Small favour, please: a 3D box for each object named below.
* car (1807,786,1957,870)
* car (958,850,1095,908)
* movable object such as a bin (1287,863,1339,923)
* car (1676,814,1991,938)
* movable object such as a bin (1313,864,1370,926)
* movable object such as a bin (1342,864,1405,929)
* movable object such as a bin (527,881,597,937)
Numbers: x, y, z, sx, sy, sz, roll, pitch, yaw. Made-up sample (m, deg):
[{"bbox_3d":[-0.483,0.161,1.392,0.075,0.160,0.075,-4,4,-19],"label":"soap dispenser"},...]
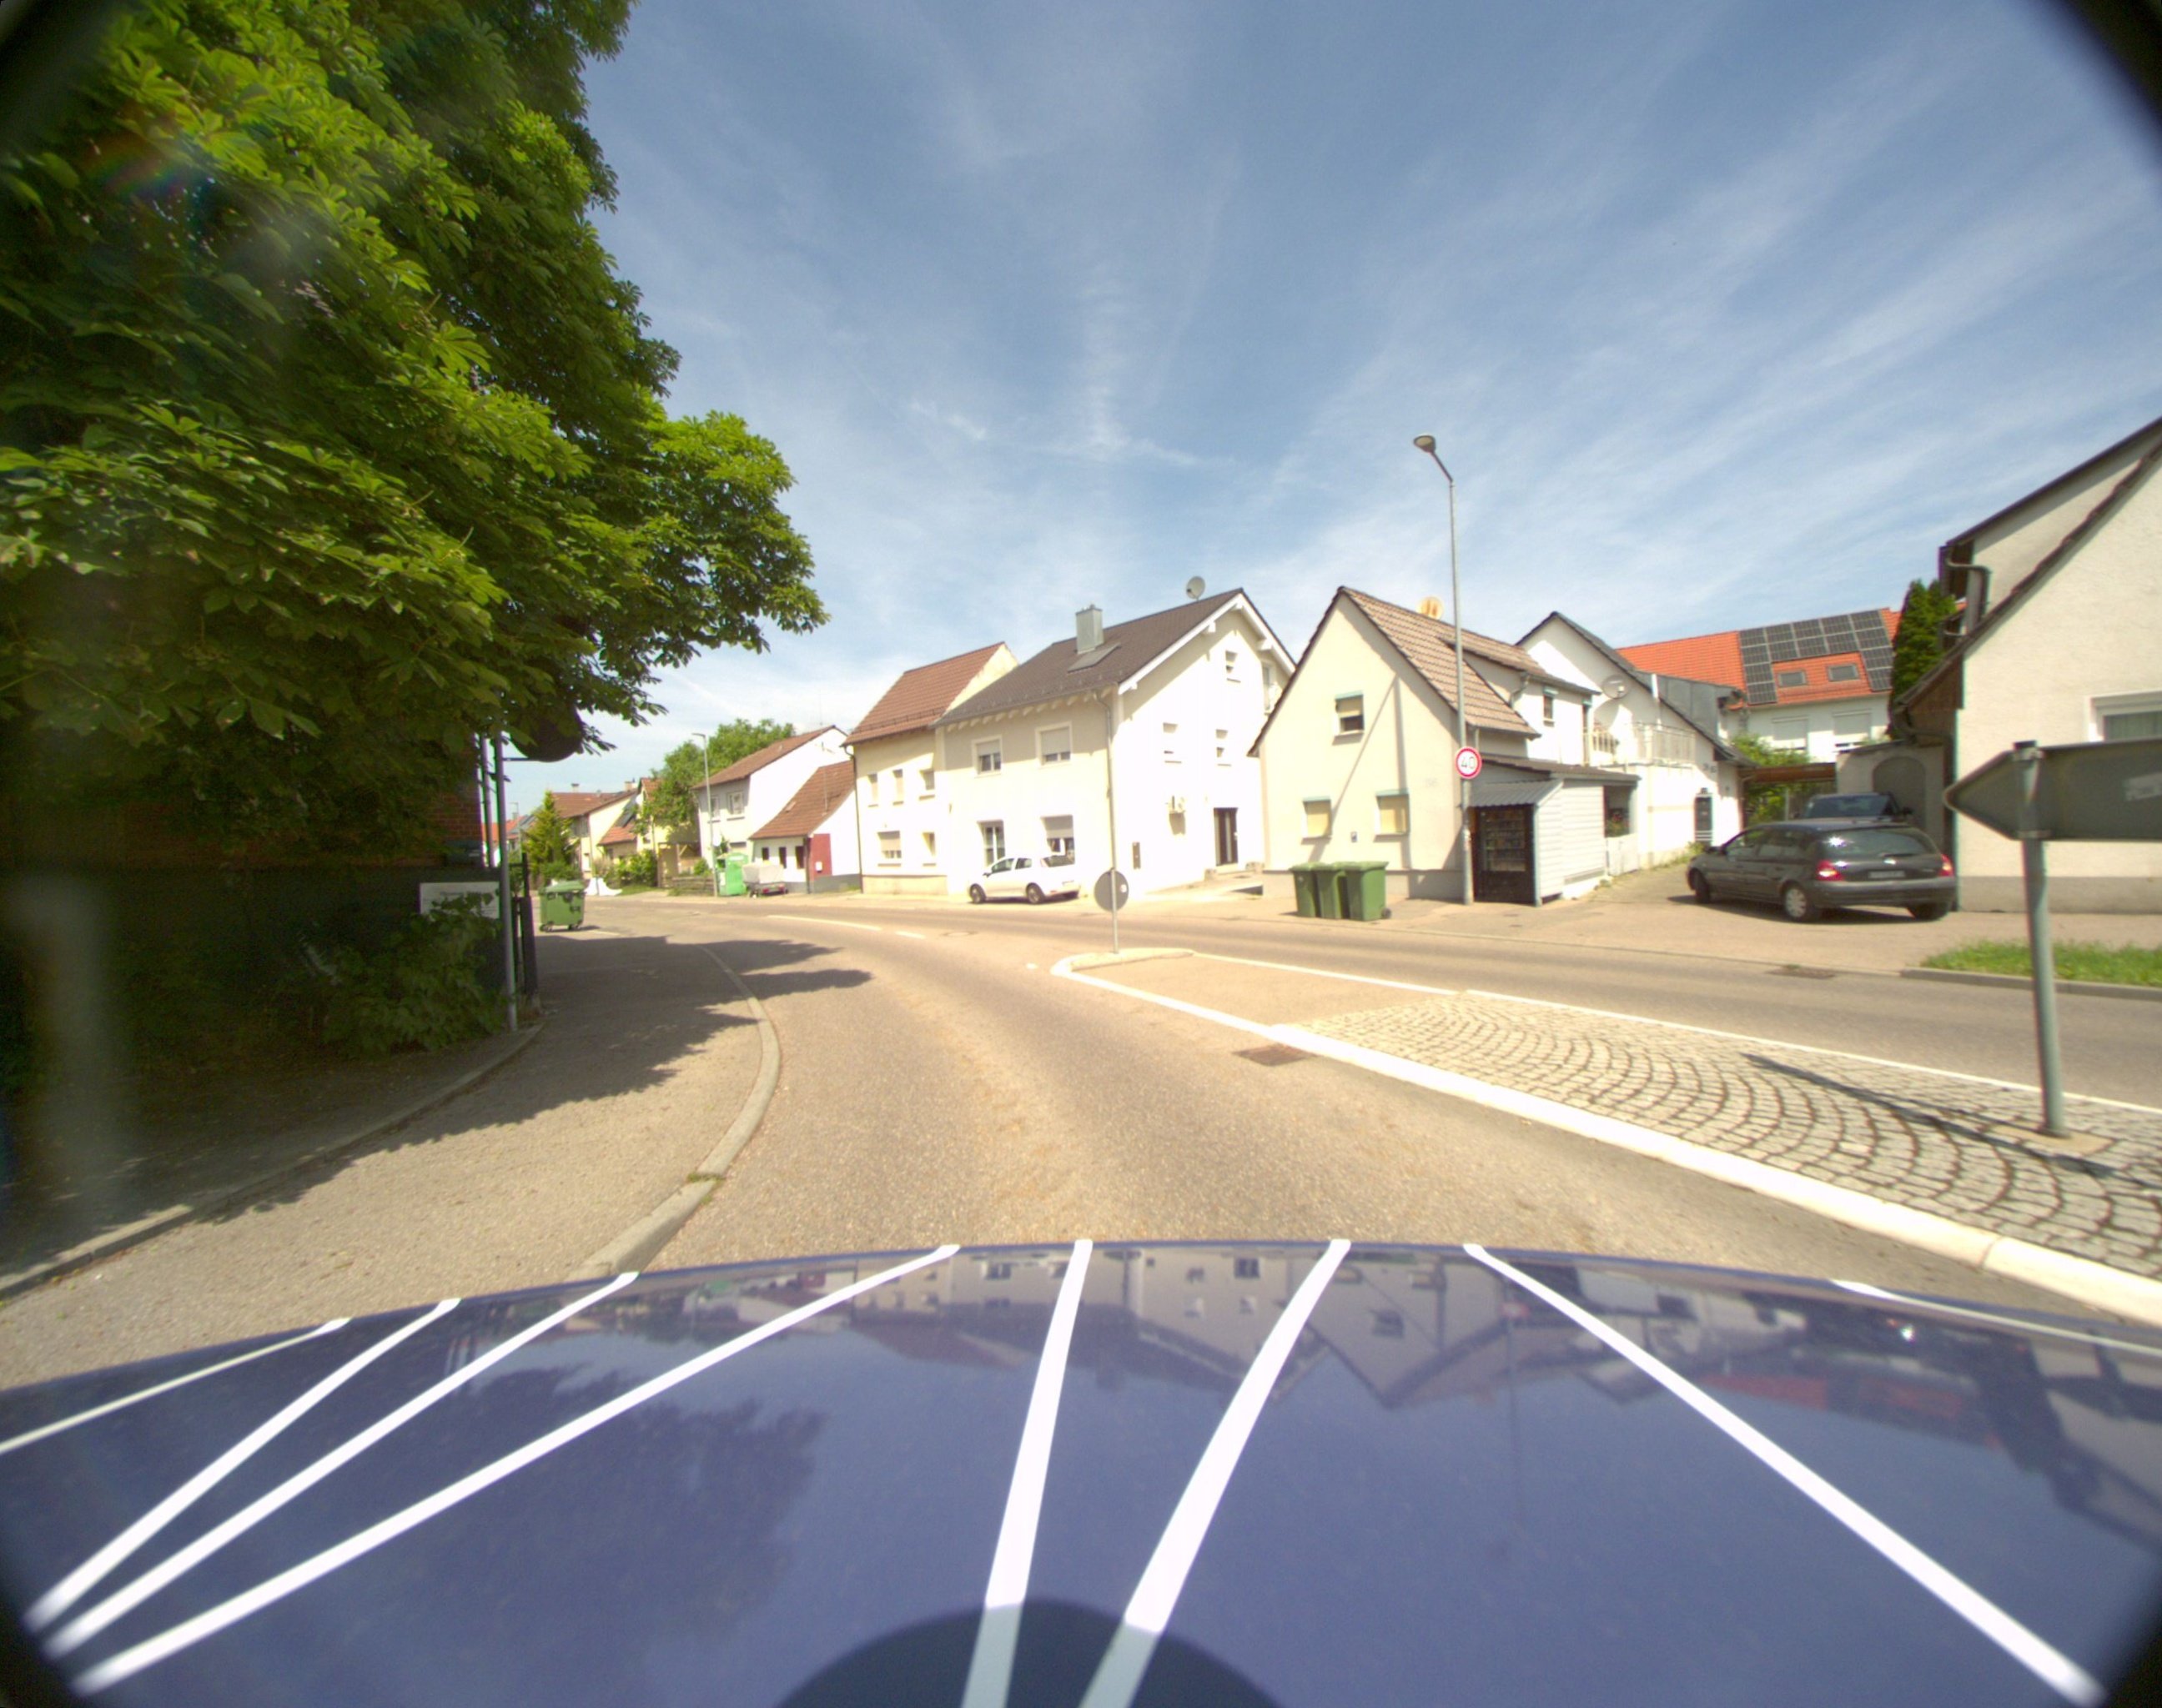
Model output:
[{"bbox_3d":[17.942,-0.577,16.968,3.878,1.635,1.995,-3,1,-39],"label":"car"},{"bbox_3d":[-1.741,0.755,23.336,3.989,1.494,1.829,-2,3,42],"label":"car"},{"bbox_3d":[4.540,0.759,14.901,0.644,1.087,0.630,-7,3,-33],"label":"movable object such as a bin"},{"bbox_3d":[11.154,0.214,11.690,1.775,1.433,3.849,-4,3,16],"label":"car"},{"bbox_3d":[4.911,0.762,14.345,0.733,1.071,0.631,-7,3,-33],"label":"movable object such as a bin"},{"bbox_3d":[5.285,0.750,13.738,0.683,1.071,0.724,-7,3,-33],"label":"movable object such as a bin"},{"bbox_3d":[-15.397,1.606,22.551,1.288,1.512,1.358,-2,1,41],"label":"movable object such as a bin"}]
